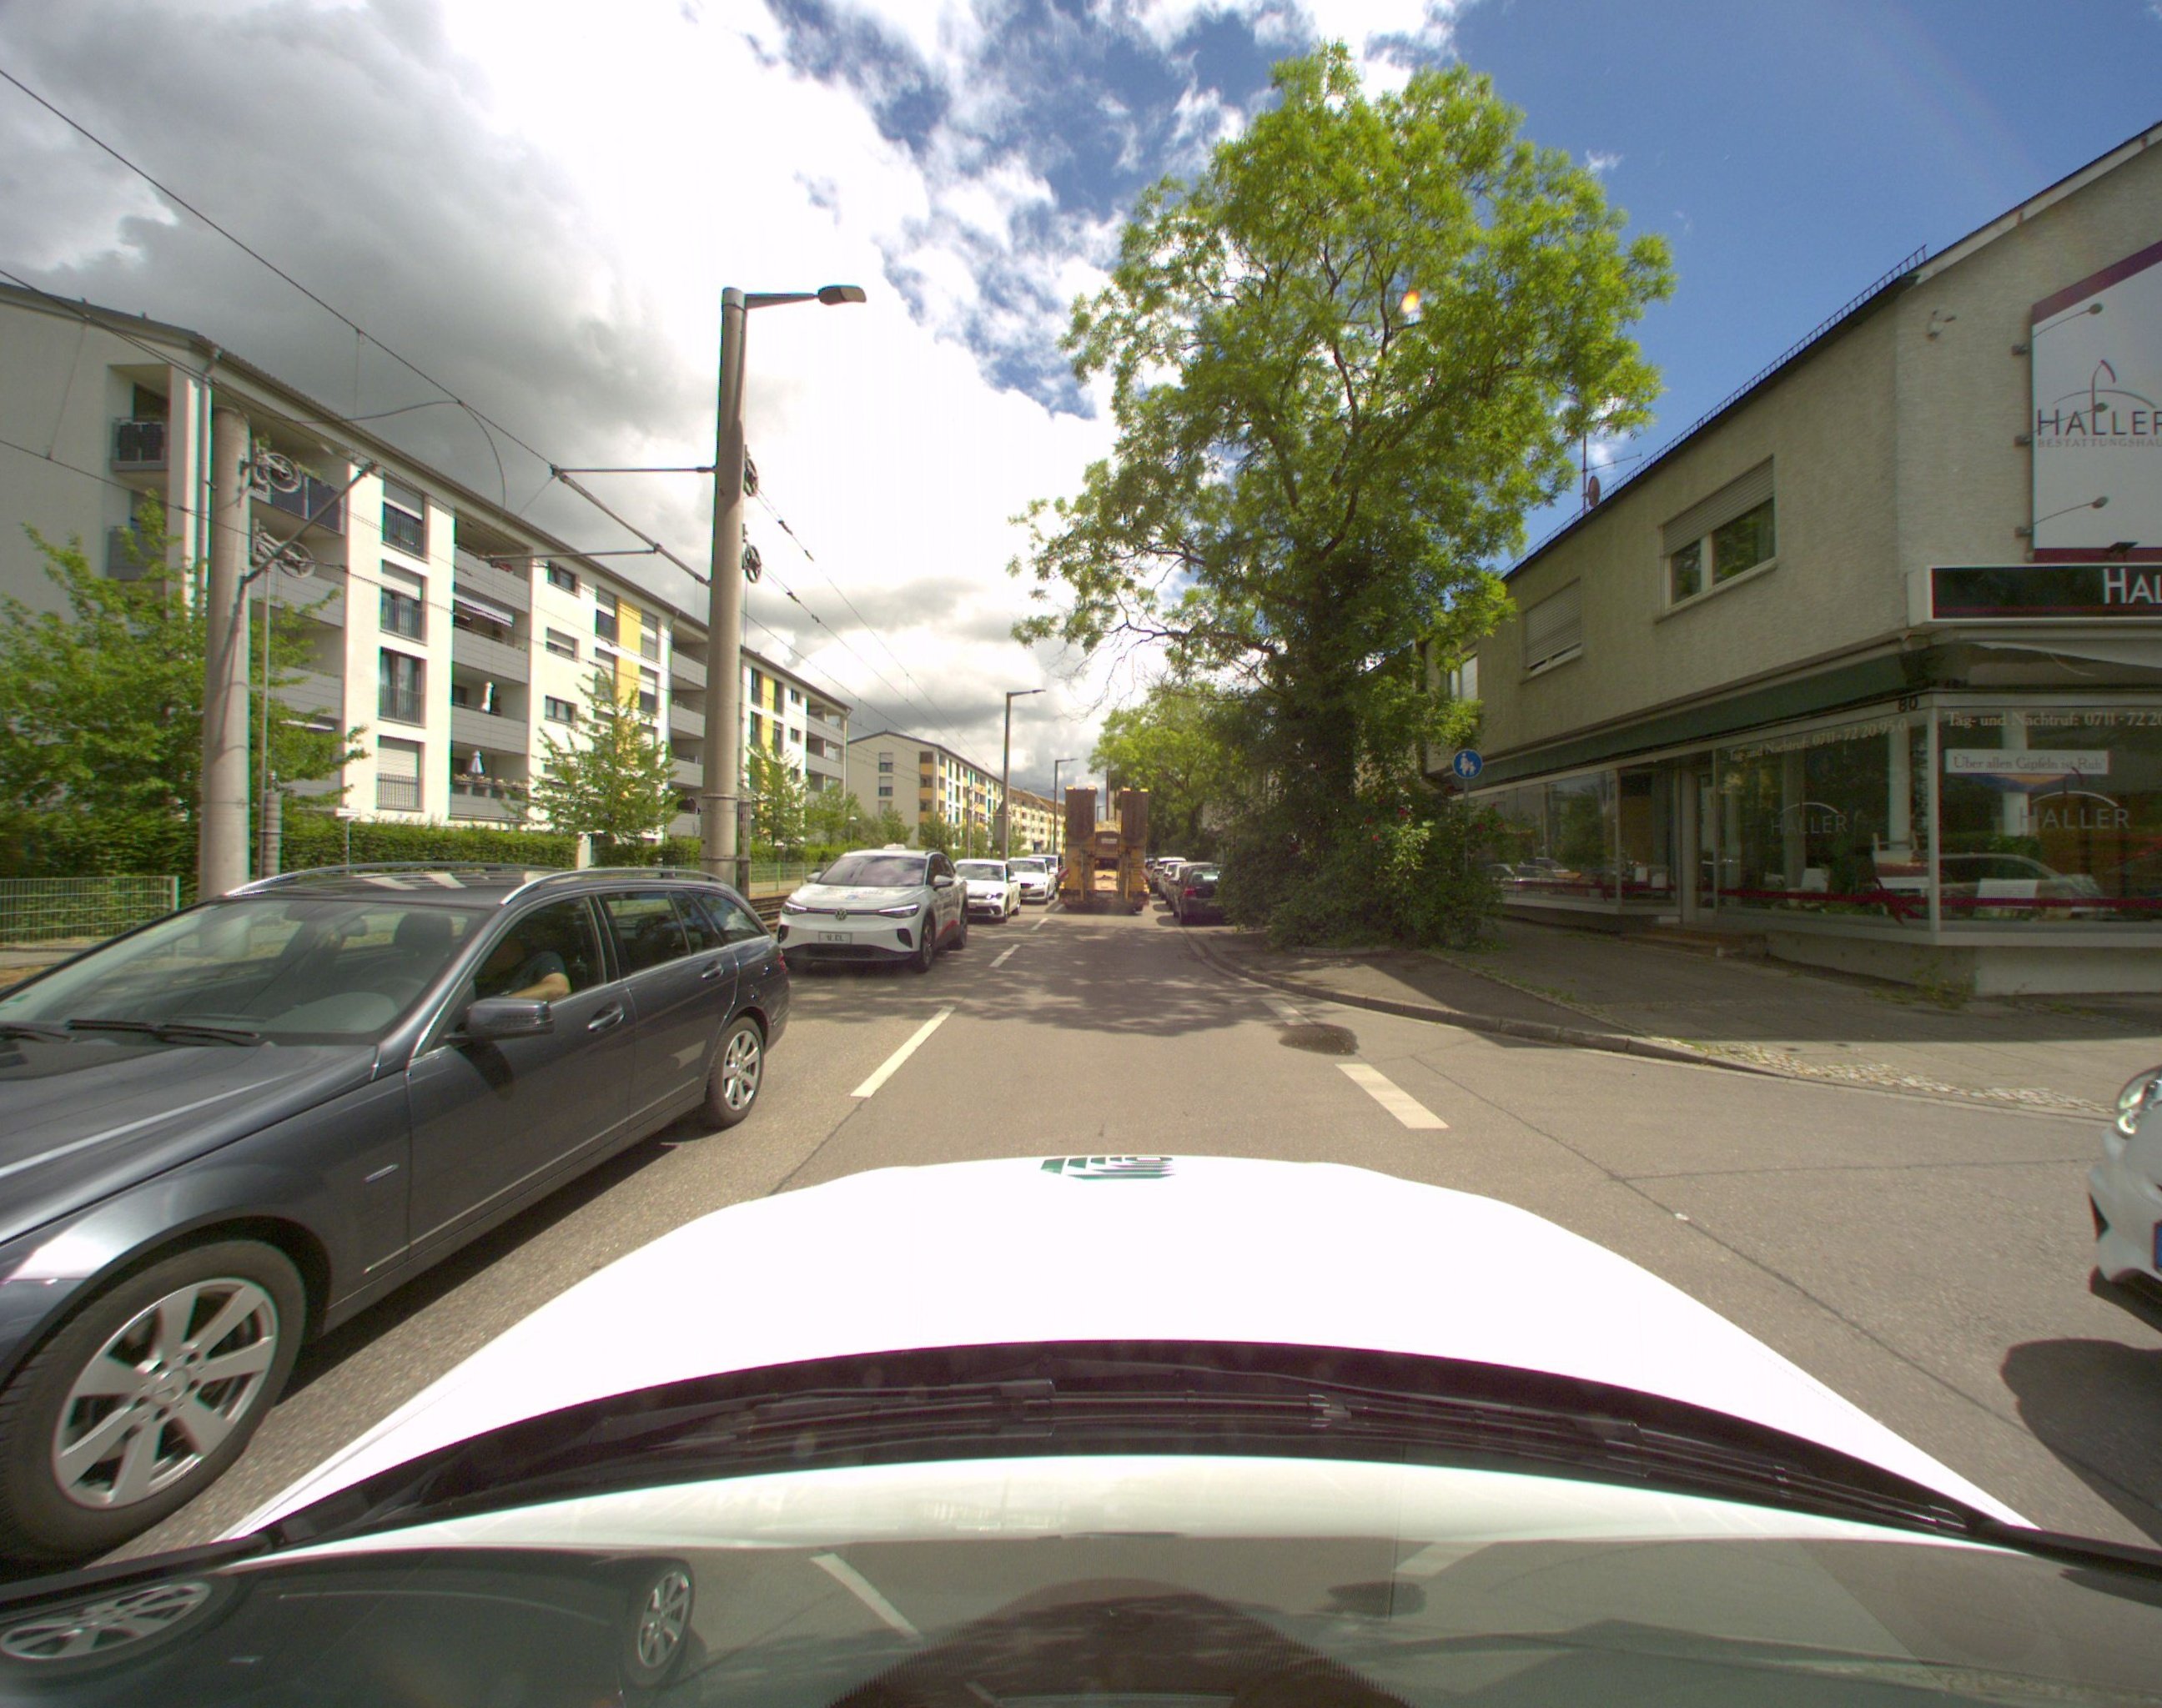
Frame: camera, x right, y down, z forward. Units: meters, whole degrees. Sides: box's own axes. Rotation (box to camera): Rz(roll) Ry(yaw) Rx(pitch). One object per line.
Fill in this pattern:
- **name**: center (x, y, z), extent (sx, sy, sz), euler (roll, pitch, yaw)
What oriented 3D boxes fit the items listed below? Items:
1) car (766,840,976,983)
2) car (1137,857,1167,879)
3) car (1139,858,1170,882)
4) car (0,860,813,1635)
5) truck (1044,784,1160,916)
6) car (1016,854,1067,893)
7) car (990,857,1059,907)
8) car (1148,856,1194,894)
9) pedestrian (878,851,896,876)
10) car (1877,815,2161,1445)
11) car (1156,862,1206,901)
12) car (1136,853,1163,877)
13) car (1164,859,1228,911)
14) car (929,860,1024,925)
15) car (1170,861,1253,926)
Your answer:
- **car**: center (-2.796, 0.697, 11.974), extent (1.851, 1.690, 4.434), euler (1, 0, 1)
- **car**: center (4.885, 0.954, 56.130), extent (1.765, 1.442, 3.900), euler (-2, -1, 1)
- **car**: center (4.614, 0.973, 50.839), extent (1.762, 1.349, 4.007), euler (-2, -1, 7)
- **car**: center (-2.868, 0.768, 3.395), extent (1.803, 1.445, 4.468), euler (1, 0, 3)
- **truck**: center (0.886, -0.083, 28.511), extent (3.111, 3.564, 12.468), euler (1, 0, 3)
- **car**: center (-1.717, 0.841, 37.080), extent (1.810, 1.614, 4.604), euler (2, 0, 3)
- **car**: center (-1.818, 0.878, 27.825), extent (1.810, 1.502, 4.839), euler (2, 0, 2)
- **car**: center (4.142, 0.952, 38.077), extent (1.830, 1.643, 4.432), euler (1, 0, 2)
- **pedestrian**: center (-11.707, 0.595, 49.151), extent (0.793, 1.483, 0.996), euler (1, 0, 2)
- **car**: center (4.438, 0.648, 1.630), extent (3.611, 1.571, 1.849), euler (-1, -1, 14)
- **car**: center (3.955, 1.050, 32.751), extent (1.717, 1.426, 4.450), euler (1, 0, 3)
- **car**: center (5.258, 0.808, 62.739), extent (2.006, 1.788, 5.082), euler (0, 0, 4)
- **car**: center (3.685, 0.946, 26.867), extent (1.805, 1.498, 4.917), euler (1, 0, 5)
- **car**: center (-2.448, 0.869, 19.953), extent (1.740, 1.406, 3.940), euler (1, 0, 1)
- **car**: center (3.278, 0.947, 21.104), extent (1.805, 1.463, 4.046), euler (1, 0, 5)
